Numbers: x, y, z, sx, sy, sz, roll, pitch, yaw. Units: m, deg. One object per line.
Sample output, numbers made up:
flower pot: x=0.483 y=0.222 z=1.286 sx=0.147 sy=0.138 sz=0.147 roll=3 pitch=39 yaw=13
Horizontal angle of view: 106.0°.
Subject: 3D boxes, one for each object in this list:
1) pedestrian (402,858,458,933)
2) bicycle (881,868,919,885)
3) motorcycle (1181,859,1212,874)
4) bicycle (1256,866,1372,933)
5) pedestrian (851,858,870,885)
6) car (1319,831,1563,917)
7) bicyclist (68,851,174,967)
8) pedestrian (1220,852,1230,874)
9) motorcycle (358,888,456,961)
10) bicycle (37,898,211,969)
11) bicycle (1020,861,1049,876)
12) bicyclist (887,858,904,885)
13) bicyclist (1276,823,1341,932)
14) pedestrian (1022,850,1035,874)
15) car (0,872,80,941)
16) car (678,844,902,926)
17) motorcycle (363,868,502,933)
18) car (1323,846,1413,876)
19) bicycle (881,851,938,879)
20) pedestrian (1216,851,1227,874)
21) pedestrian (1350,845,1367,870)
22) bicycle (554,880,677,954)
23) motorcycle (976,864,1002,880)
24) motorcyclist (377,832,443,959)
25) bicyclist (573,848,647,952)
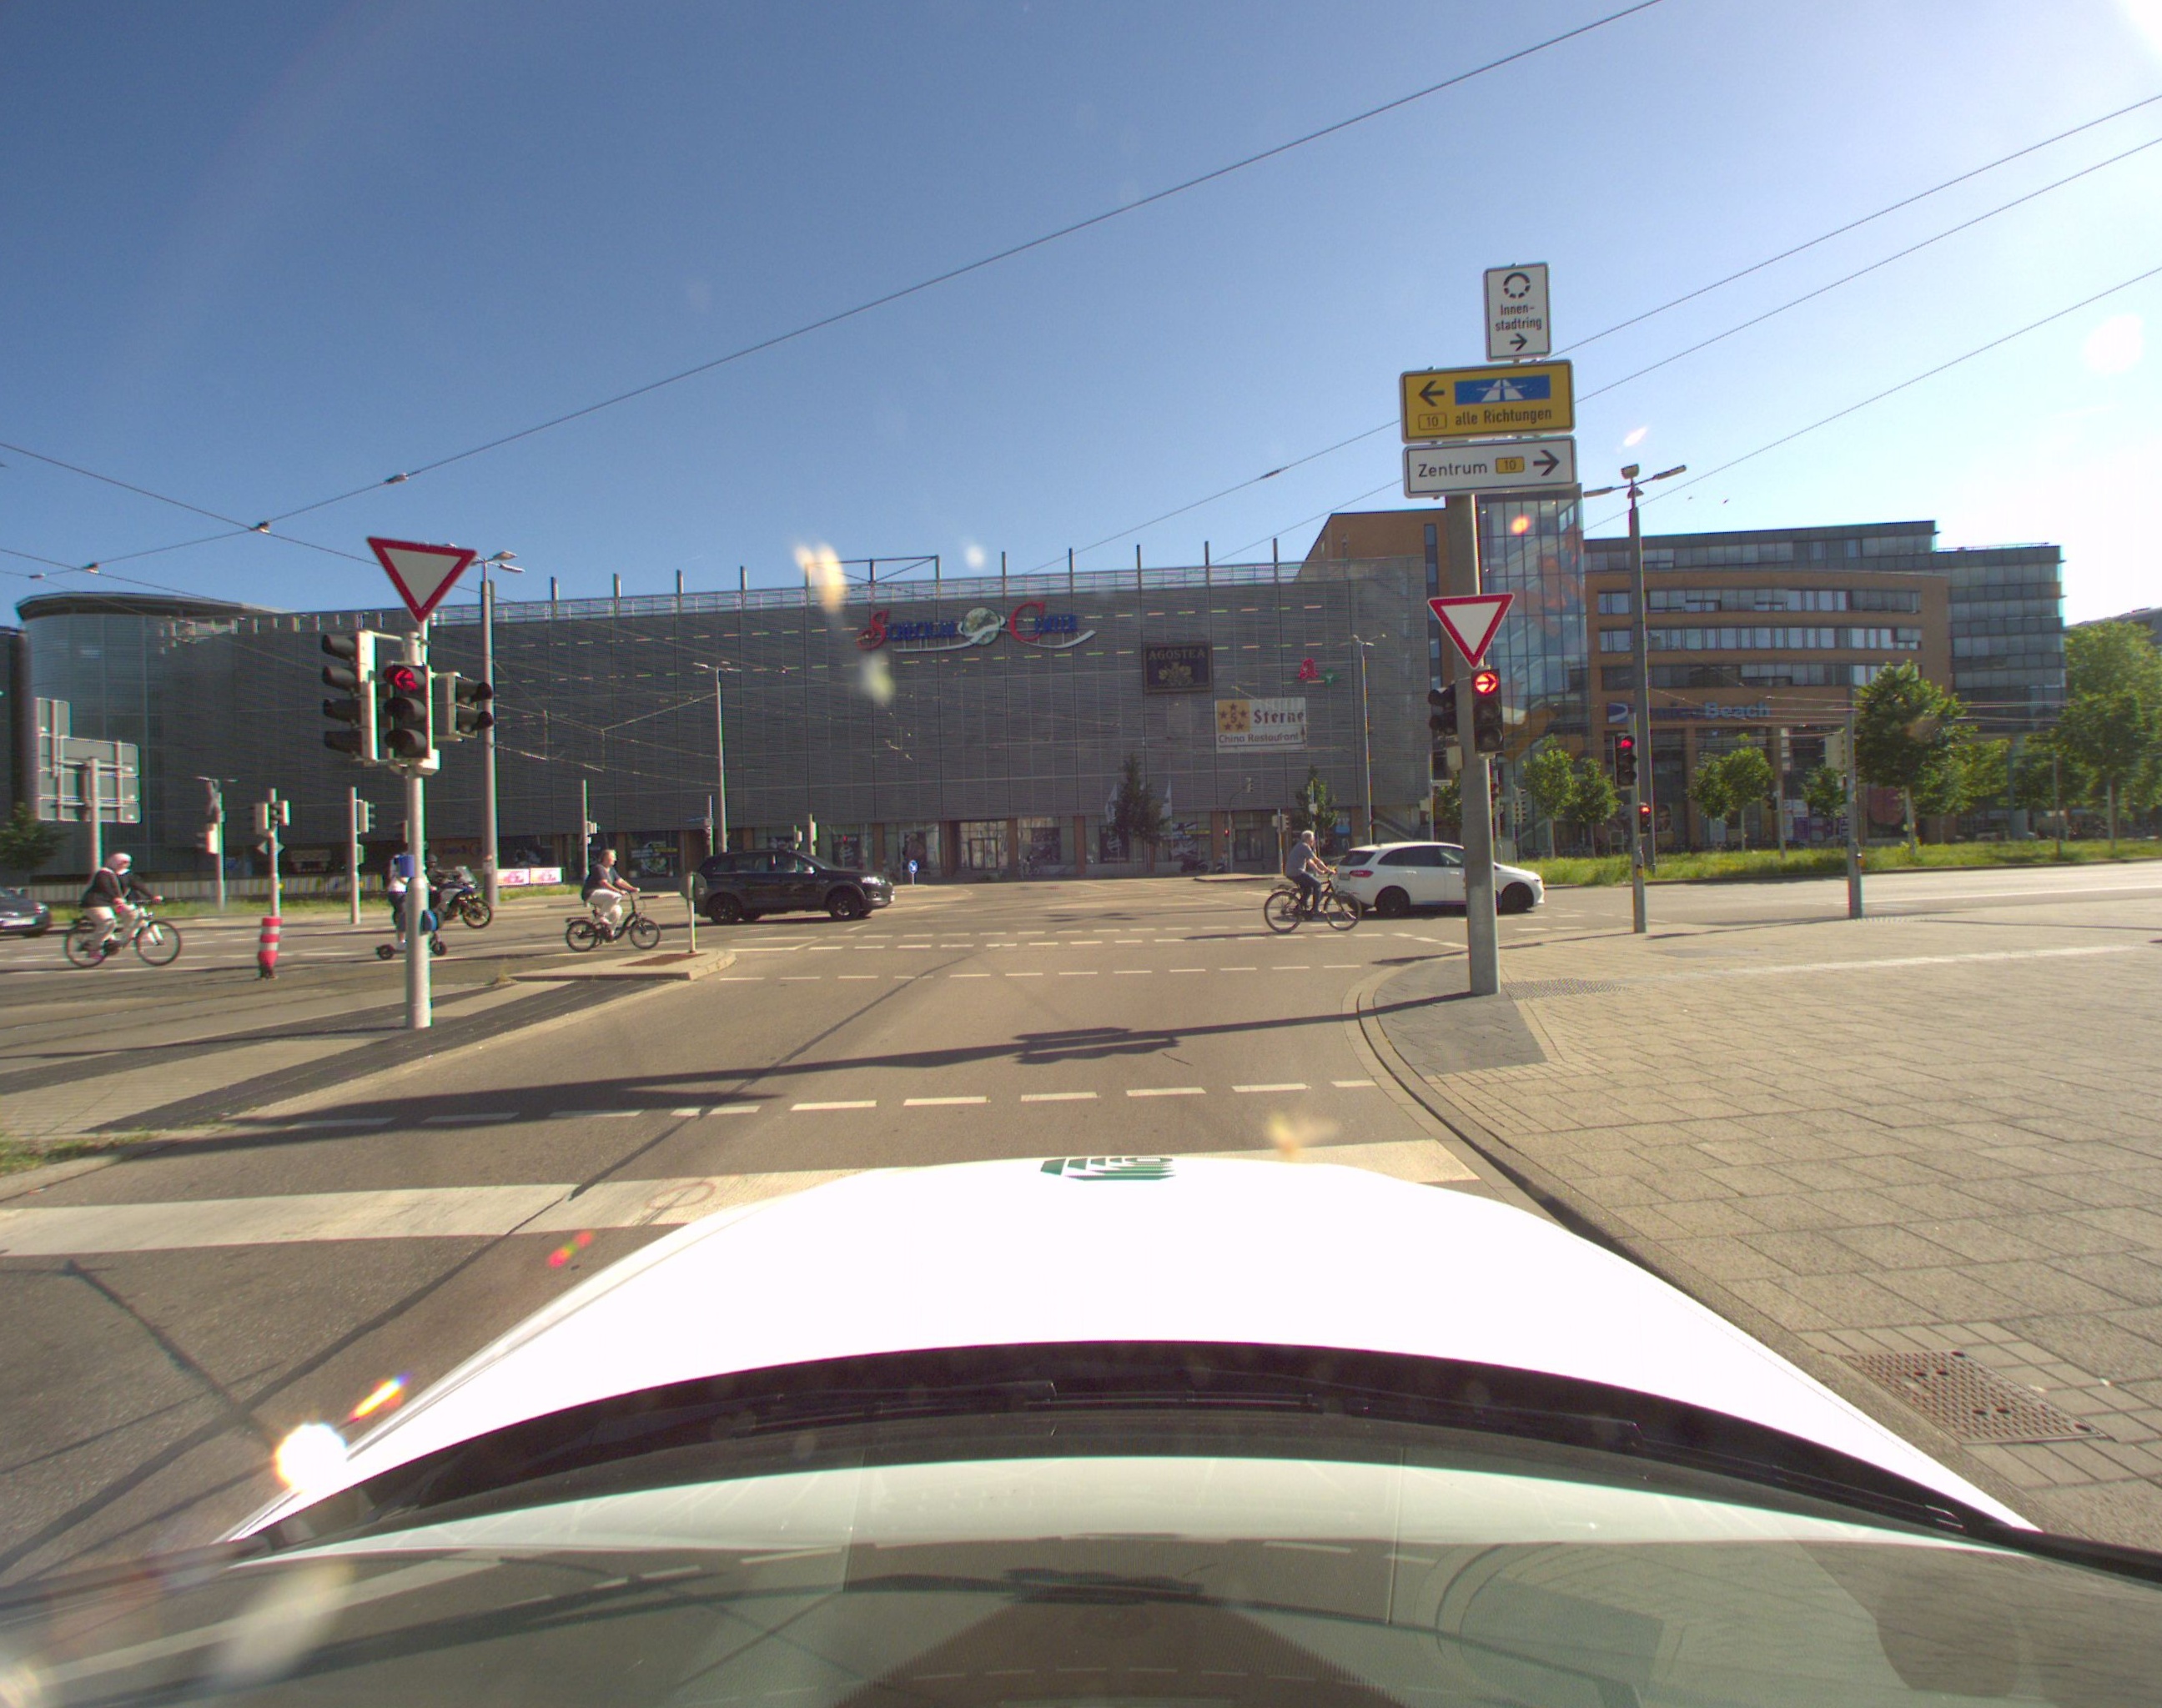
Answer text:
pedestrian: x=-14.916 y=0.930 z=18.678 sx=0.741 sy=1.677 sz=0.665 roll=-1 pitch=-1 yaw=1
bicycle: x=-12.323 y=1.529 z=55.429 sx=2.256 sy=1.070 sz=1.034 roll=-2 pitch=0 yaw=-39
motorcycle: x=8.634 y=0.929 z=60.871 sx=2.194 sy=1.042 sz=1.062 roll=-1 pitch=0 yaw=2
bicycle: x=4.113 y=0.795 z=14.496 sx=1.822 sy=1.116 sz=0.854 roll=-1 pitch=0 yaw=2
pedestrian: x=-15.069 y=1.194 z=55.622 sx=0.894 sy=1.868 sz=0.826 roll=-2 pitch=-1 yaw=44
car: x=7.675 y=0.394 z=17.630 sx=4.479 sy=1.635 sz=1.837 roll=-2 pitch=1 yaw=-4
bicyclist: x=-15.448 y=0.867 z=13.122 sx=0.761 sy=1.789 sz=0.762 roll=-2 pitch=0 yaw=-2
pedestrian: x=9.783 y=0.582 z=55.378 sx=0.587 sy=1.462 sz=0.658 roll=-2 pitch=0 yaw=1
motorcycle: x=-11.012 y=1.138 z=13.324 sx=1.182 sy=1.121 sz=0.483 roll=-2 pitch=0 yaw=1
bicycle: x=-15.419 y=1.264 z=13.156 sx=1.920 sy=1.036 sz=0.694 roll=-1 pitch=0 yaw=-2
bicycle: x=-3.476 y=1.075 z=60.920 sx=2.019 sy=1.059 sz=1.145 roll=-2 pitch=0 yaw=1
bicyclist: x=-12.579 y=1.194 z=55.231 sx=0.849 sy=1.803 sz=0.806 roll=-1 pitch=-1 yaw=-40
bicyclist: x=4.032 y=0.405 z=14.501 sx=0.898 sy=1.859 sz=0.855 roll=-2 pitch=0 yaw=2
pedestrian: x=-3.871 y=0.601 z=60.094 sx=0.845 sy=1.763 sz=0.620 roll=-2 pitch=-1 yaw=1
car: x=-26.172 y=1.240 z=18.913 sx=3.735 sy=1.525 sz=1.825 roll=-1 pitch=0 yaw=4
car: x=-6.776 y=0.682 z=19.373 sx=4.625 sy=1.718 sz=1.837 roll=-1 pitch=1 yaw=-4
motorcycle: x=-14.882 y=1.058 z=18.731 sx=2.435 sy=1.419 sz=0.915 roll=-1 pitch=0 yaw=0
car: x=16.010 y=0.396 z=45.513 sx=4.470 sy=1.495 sz=1.495 roll=-2 pitch=0 yaw=1
bicycle: x=-13.067 y=0.820 z=62.049 sx=3.971 sy=2.013 sz=1.331 roll=-1 pitch=0 yaw=2
pedestrian: x=9.424 y=0.555 z=54.582 sx=0.587 sy=1.535 sz=0.658 roll=-2 pitch=0 yaw=1
pedestrian: x=19.751 y=0.226 z=57.900 sx=0.852 sy=1.738 sz=0.752 roll=-2 pitch=-1 yaw=-5
bicycle: x=-7.640 y=1.023 z=13.426 sx=1.571 sy=1.107 sz=0.734 roll=-2 pitch=0 yaw=-1
motorcycle: x=-6.370 y=1.243 z=56.477 sx=1.641 sy=1.059 sz=0.499 roll=-2 pitch=0 yaw=11
motorcyclist: x=-10.977 y=0.670 z=13.331 sx=0.625 sy=2.013 sz=0.498 roll=-2 pitch=-1 yaw=2
bicyclist: x=-7.748 y=0.742 z=13.430 sx=0.780 sy=1.648 sz=0.690 roll=-2 pitch=0 yaw=-1
